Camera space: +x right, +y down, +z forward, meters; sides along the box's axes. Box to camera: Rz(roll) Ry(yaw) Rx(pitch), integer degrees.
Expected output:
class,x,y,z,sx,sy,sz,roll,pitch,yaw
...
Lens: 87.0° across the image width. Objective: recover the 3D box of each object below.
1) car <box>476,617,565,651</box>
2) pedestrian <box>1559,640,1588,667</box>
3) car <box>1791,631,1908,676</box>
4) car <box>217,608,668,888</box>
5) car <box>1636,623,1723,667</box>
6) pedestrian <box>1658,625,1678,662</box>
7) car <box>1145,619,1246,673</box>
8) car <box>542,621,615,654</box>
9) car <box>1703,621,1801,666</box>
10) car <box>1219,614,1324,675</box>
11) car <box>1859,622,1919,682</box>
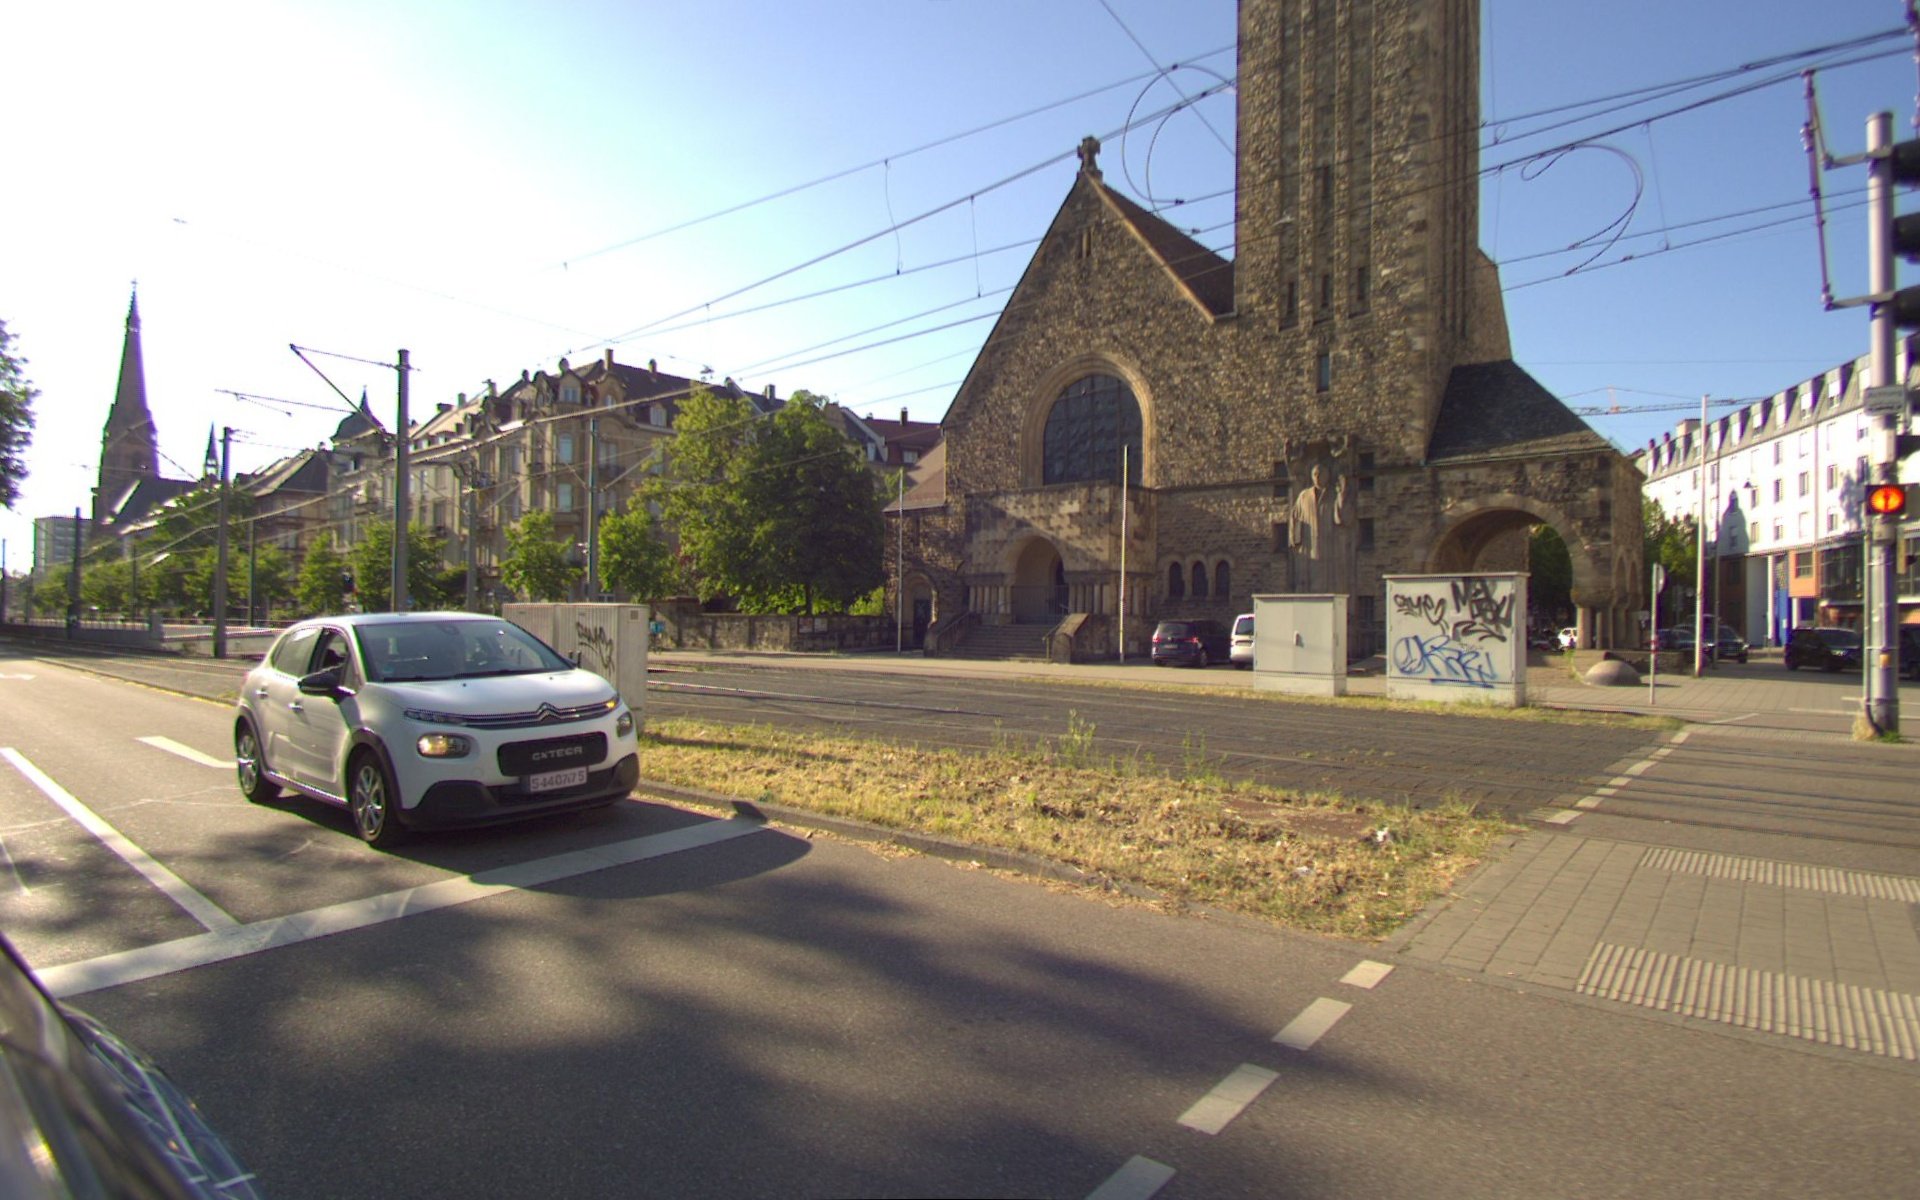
class,x,y,z,sx,sy,sz,roll,pitch,yaw
car,-20.069,1.555,46.100,4.553,1.438,1.972,0,-3,42
pedestrian,27.423,2.378,45.230,0.753,1.136,0.786,-2,2,-23
car,35.225,2.066,40.237,1.826,1.514,4.317,-1,0,17
car,-4.000,0.832,7.516,3.998,1.511,1.615,0,0,41
car,35.116,2.141,49.548,1.983,1.882,4.882,-1,0,17
pedestrian,31.899,1.947,45.609,0.649,1.633,0.463,-1,0,28
car,8.243,1.559,35.180,1.768,1.642,3.988,0,0,41
car,-19.730,1.890,52.273,4.213,1.541,1.763,0,0,42
car,37.423,2.005,47.977,1.983,1.882,4.882,-1,0,17
car,10.369,1.408,33.497,1.869,1.819,3.972,0,0,41
car,33.259,1.765,34.636,1.983,1.882,4.464,-1,0,17
